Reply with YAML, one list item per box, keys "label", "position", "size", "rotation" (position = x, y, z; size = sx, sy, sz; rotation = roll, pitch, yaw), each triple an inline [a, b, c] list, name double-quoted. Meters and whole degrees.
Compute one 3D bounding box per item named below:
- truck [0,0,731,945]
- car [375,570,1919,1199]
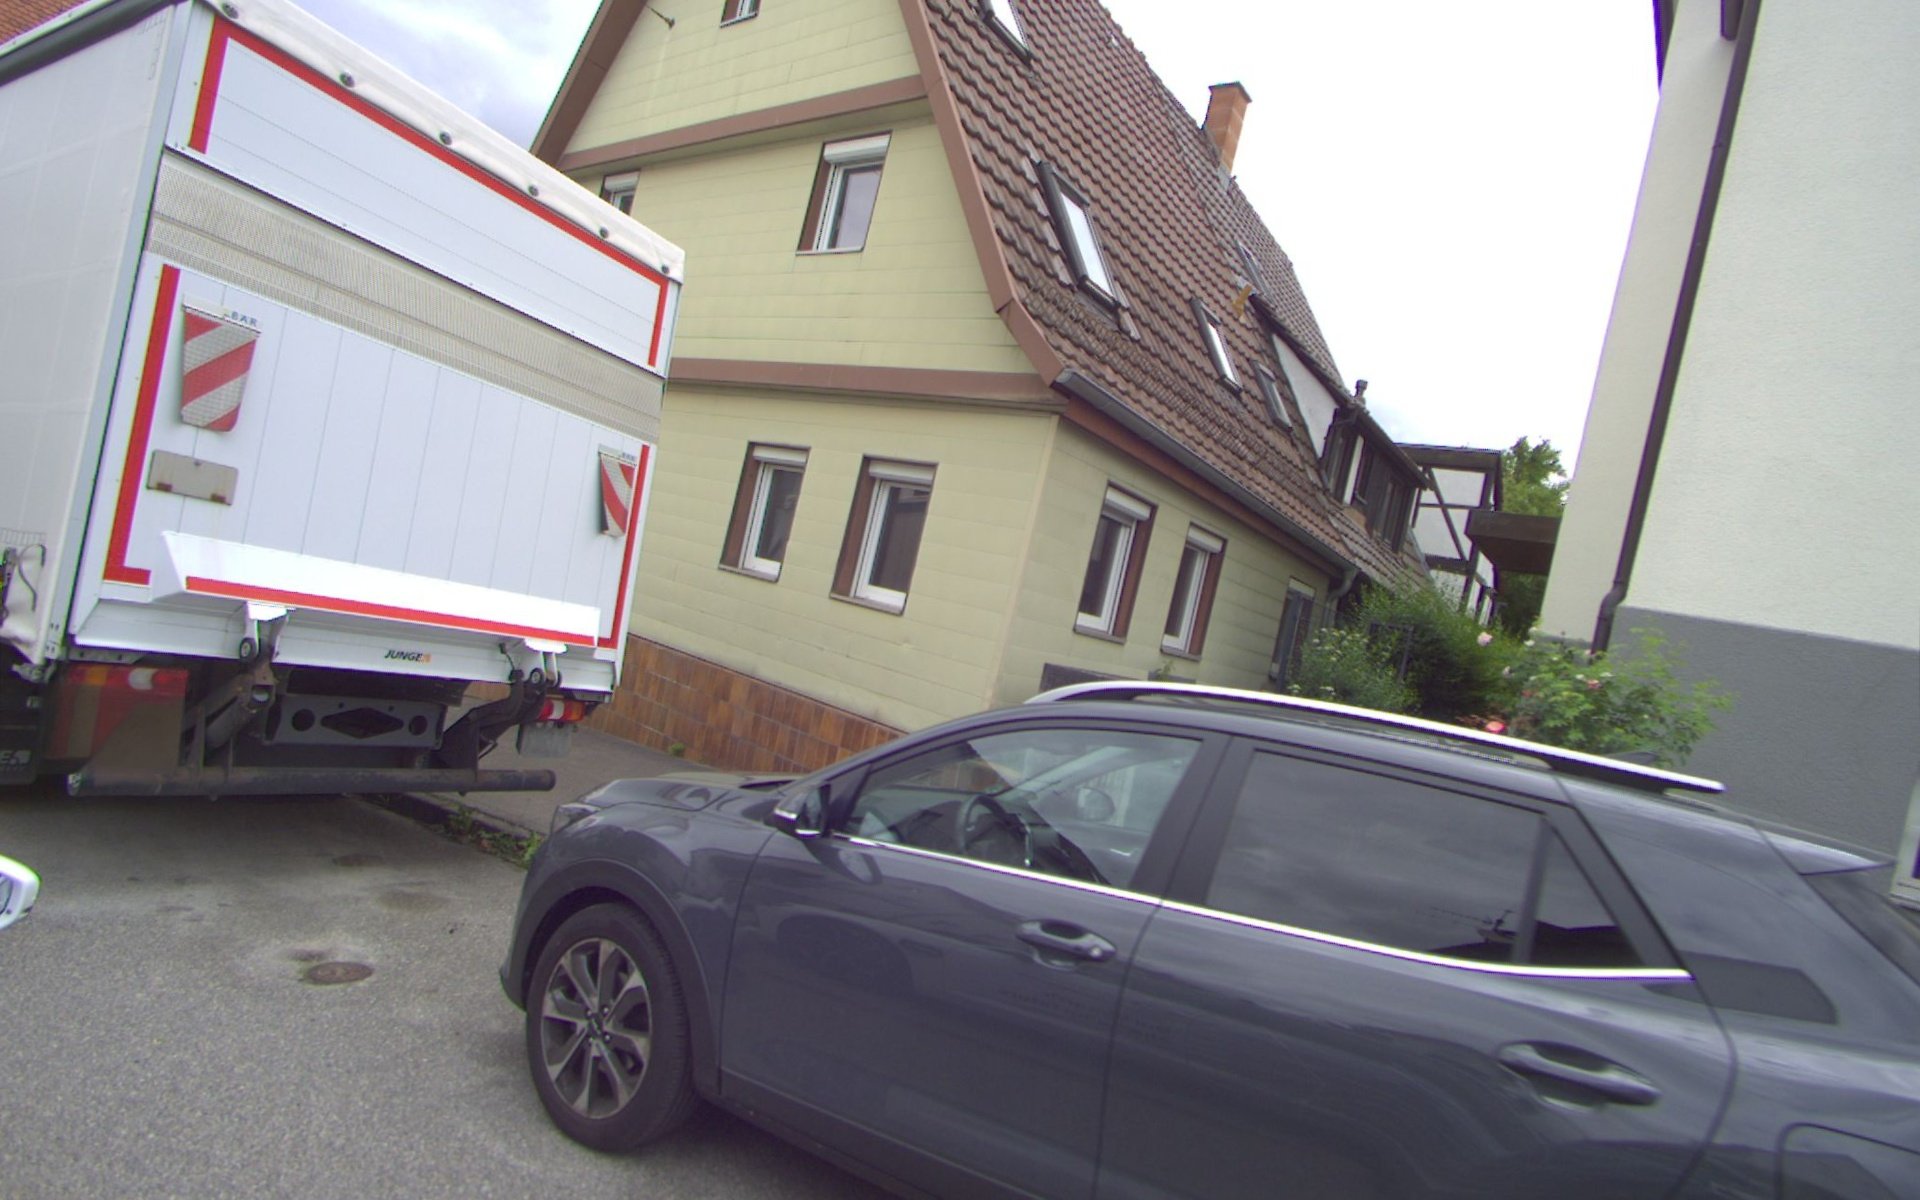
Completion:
- label: "truck"
  position: [-5.656, -0.908, 6.581]
  size: [7.968, 3.635, 2.685]
  rotation: [7, -3, 30]
- label: "car"
  position: [0.333, 0.977, 2.999]
  size: [3.984, 1.521, 1.739]
  rotation: [7, -5, 32]
